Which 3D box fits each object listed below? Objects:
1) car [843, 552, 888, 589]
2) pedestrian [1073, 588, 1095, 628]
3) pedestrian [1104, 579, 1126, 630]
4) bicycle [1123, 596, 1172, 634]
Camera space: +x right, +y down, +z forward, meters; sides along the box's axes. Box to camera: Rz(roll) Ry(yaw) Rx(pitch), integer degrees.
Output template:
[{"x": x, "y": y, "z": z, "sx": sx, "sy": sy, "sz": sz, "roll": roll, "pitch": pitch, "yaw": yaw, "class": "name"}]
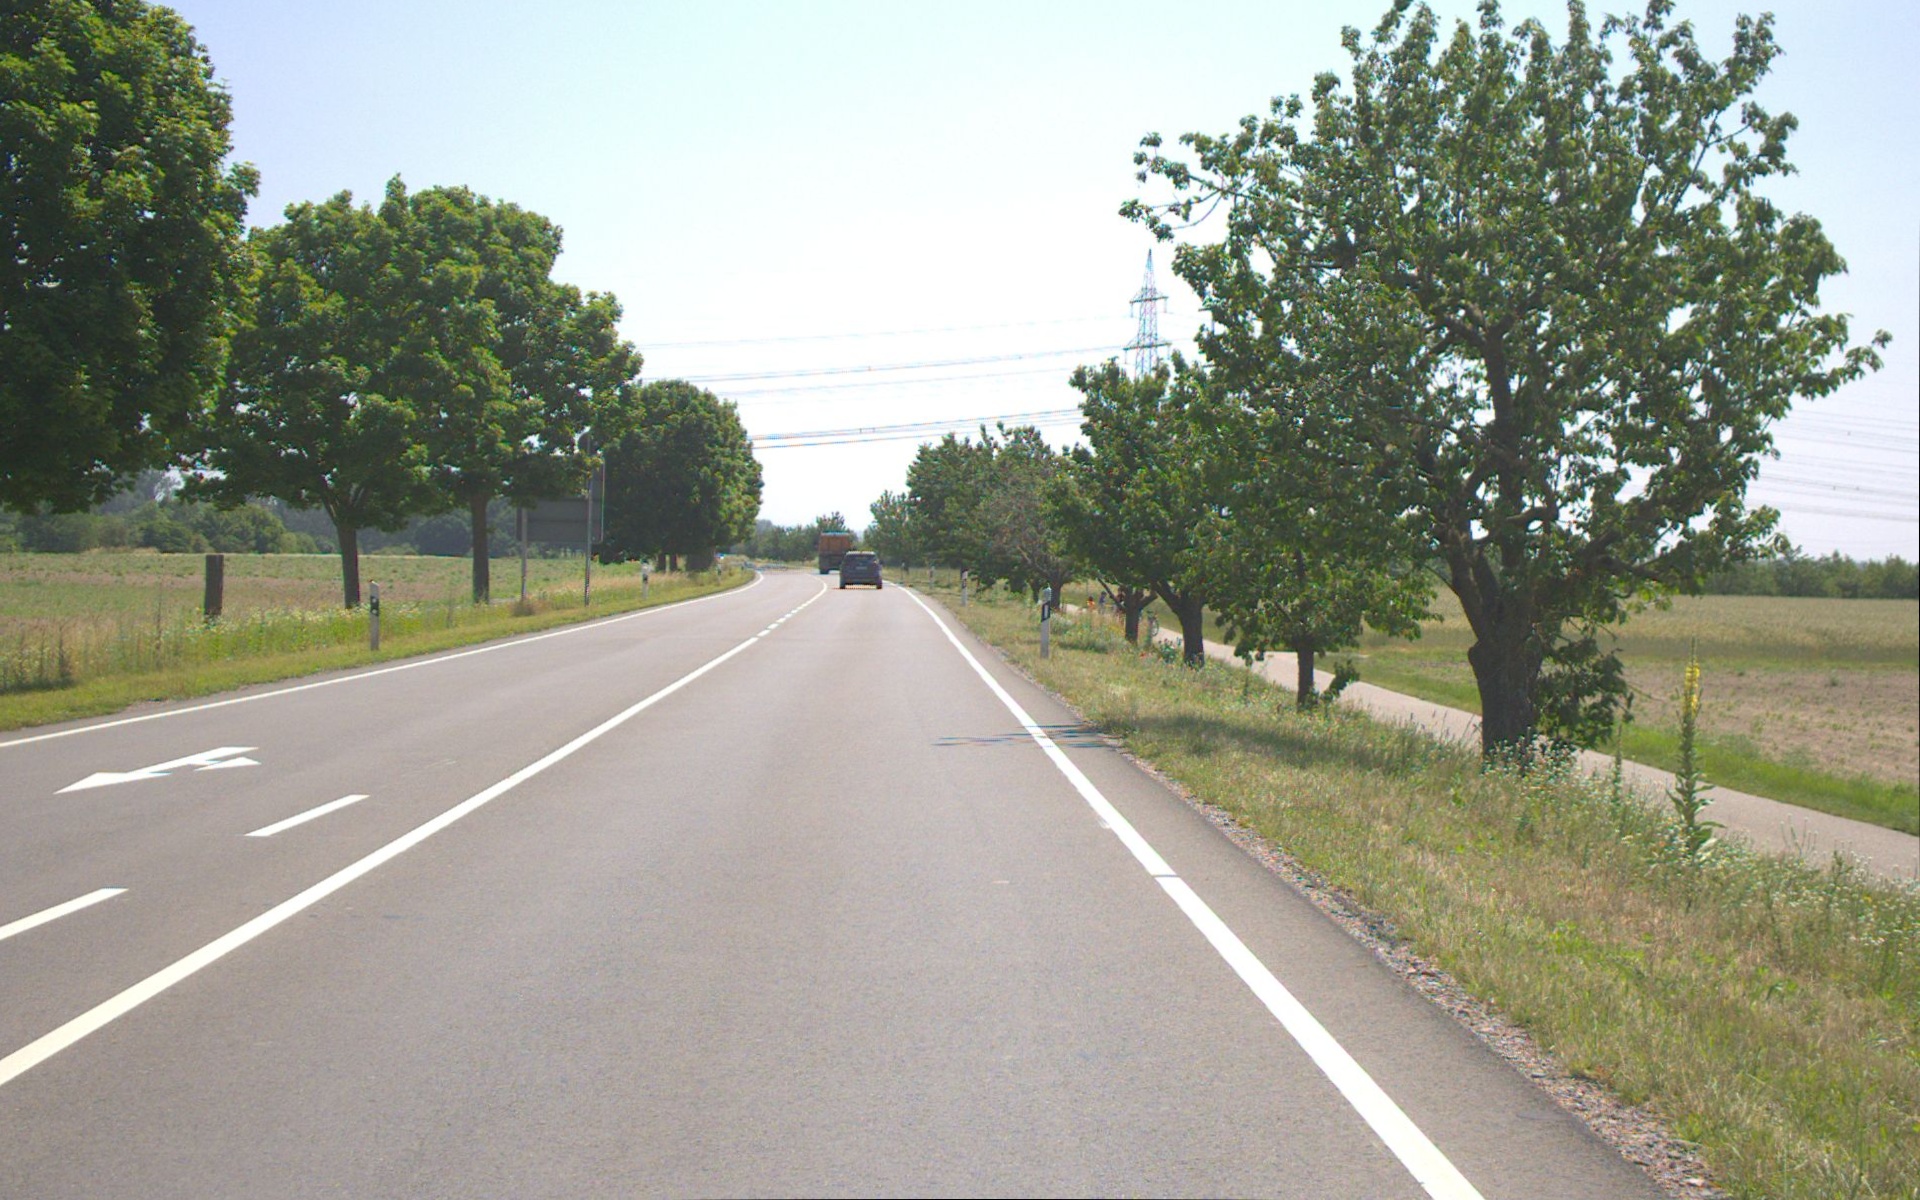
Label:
[{"x": -4.206, "y": -1.318, "z": 153.580, "sx": 1.884, "sy": 1.513, "sz": 4.040, "roll": 4, "pitch": 1, "yaw": -2, "class": "car"}, {"x": 4.310, "y": 0.275, "z": 119.570, "sx": 0.555, "sy": 1.366, "sz": 0.604, "roll": 3, "pitch": 1, "yaw": -9, "class": "pedestrian"}, {"x": 5.428, "y": 0.158, "z": 120.581, "sx": 0.555, "sy": 1.715, "sz": 0.604, "roll": 3, "pitch": 1, "yaw": -9, "class": "pedestrian"}, {"x": 6.345, "y": 0.511, "z": 116.350, "sx": 1.218, "sy": 1.161, "sz": 2.436, "roll": 4, "pitch": 1, "yaw": -6, "class": "bicycle"}]
